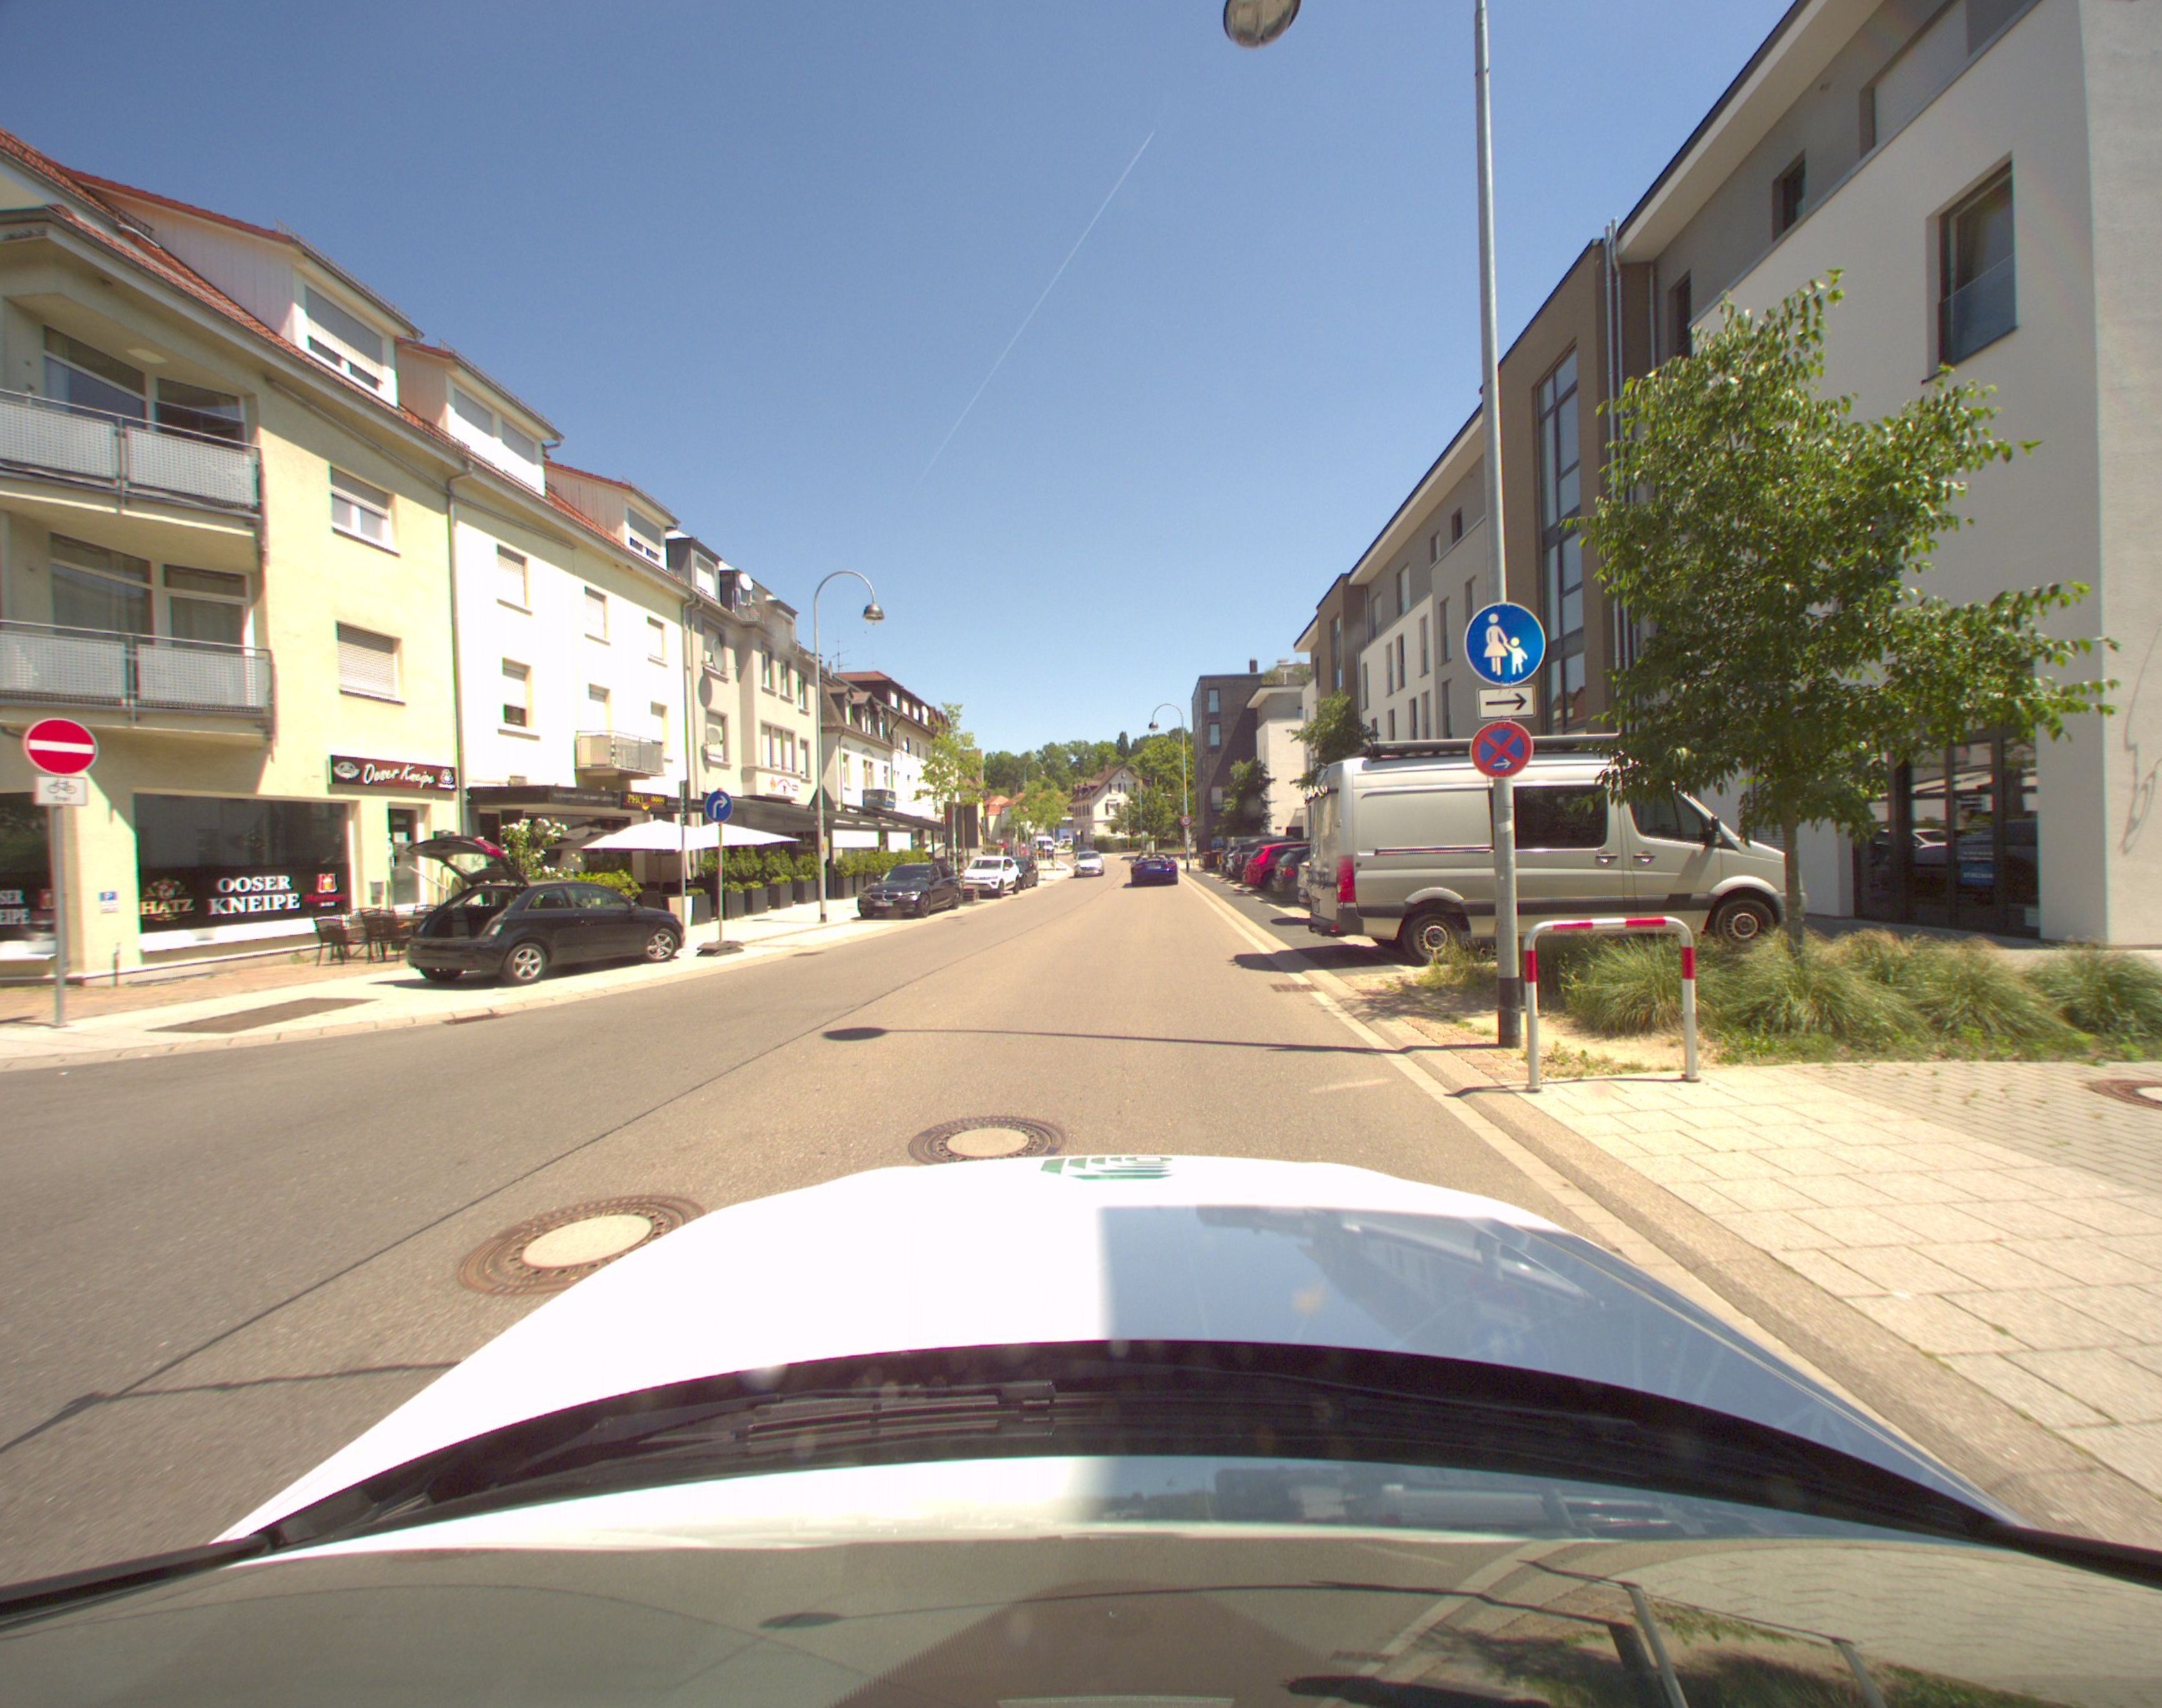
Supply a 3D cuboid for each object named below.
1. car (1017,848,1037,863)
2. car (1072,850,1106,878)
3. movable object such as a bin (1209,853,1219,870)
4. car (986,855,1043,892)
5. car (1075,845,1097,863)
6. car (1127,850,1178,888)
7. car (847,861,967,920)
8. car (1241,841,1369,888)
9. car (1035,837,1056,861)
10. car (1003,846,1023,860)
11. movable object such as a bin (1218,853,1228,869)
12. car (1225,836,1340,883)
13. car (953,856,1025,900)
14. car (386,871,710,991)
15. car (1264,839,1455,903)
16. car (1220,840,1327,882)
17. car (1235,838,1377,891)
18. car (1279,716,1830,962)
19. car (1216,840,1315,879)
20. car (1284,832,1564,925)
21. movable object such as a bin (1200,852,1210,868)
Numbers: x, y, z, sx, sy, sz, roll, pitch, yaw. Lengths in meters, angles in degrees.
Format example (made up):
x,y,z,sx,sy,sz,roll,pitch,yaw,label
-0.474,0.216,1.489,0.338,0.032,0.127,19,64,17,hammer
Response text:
x,y,z,sx,sy,sz,roll,pitch,yaw,label
-6.362,0.195,96.178,1.993,1.738,3.988,-2,0,-8,car
0.530,0.545,48.280,1.679,1.458,4.063,-4,0,4,car
7.900,0.440,48.284,0.492,0.929,0.624,-4,0,6,movable object such as a bin
-2.911,0.812,36.389,1.661,1.443,4.019,-2,1,8,car
0.473,0.007,82.330,1.660,1.606,3.989,-4,0,-8,car
3.060,0.571,34.028,1.860,1.342,4.606,-3,0,7,car
-4.844,0.968,23.421,1.824,1.429,4.793,-1,1,8,car
7.651,0.342,28.140,3.963,1.432,1.765,-2,0,4,car
-3.794,-0.509,87.292,1.864,2.400,4.808,-2,0,-6,car
-9.019,-0.130,108.244,1.997,1.692,3.980,-1,1,-15,car
8.420,0.404,48.246,0.492,0.929,0.624,-4,0,6,movable object such as a bin
7.574,0.191,30.928,3.963,1.605,1.945,-2,0,4,car
-3.408,0.848,30.789,1.634,1.479,3.952,0,1,10,car
-7.998,1.042,12.770,1.700,1.460,4.146,0,0,15,car
7.022,0.419,20.888,4.242,1.416,1.929,-2,0,1,car
7.836,0.281,33.403,3.963,1.529,1.945,-2,0,4,car
6.956,0.305,25.555,3.953,1.408,1.859,-3,0,3,car
5.848,-0.157,10.819,5.912,2.732,2.199,-2,0,4,car
7.969,0.228,35.404,3.963,1.529,1.742,-2,0,4,car
6.411,0.448,15.720,4.565,1.529,2.003,-2,0,5,car
7.357,0.362,48.344,0.534,0.929,0.624,-4,0,6,movable object such as a bin
